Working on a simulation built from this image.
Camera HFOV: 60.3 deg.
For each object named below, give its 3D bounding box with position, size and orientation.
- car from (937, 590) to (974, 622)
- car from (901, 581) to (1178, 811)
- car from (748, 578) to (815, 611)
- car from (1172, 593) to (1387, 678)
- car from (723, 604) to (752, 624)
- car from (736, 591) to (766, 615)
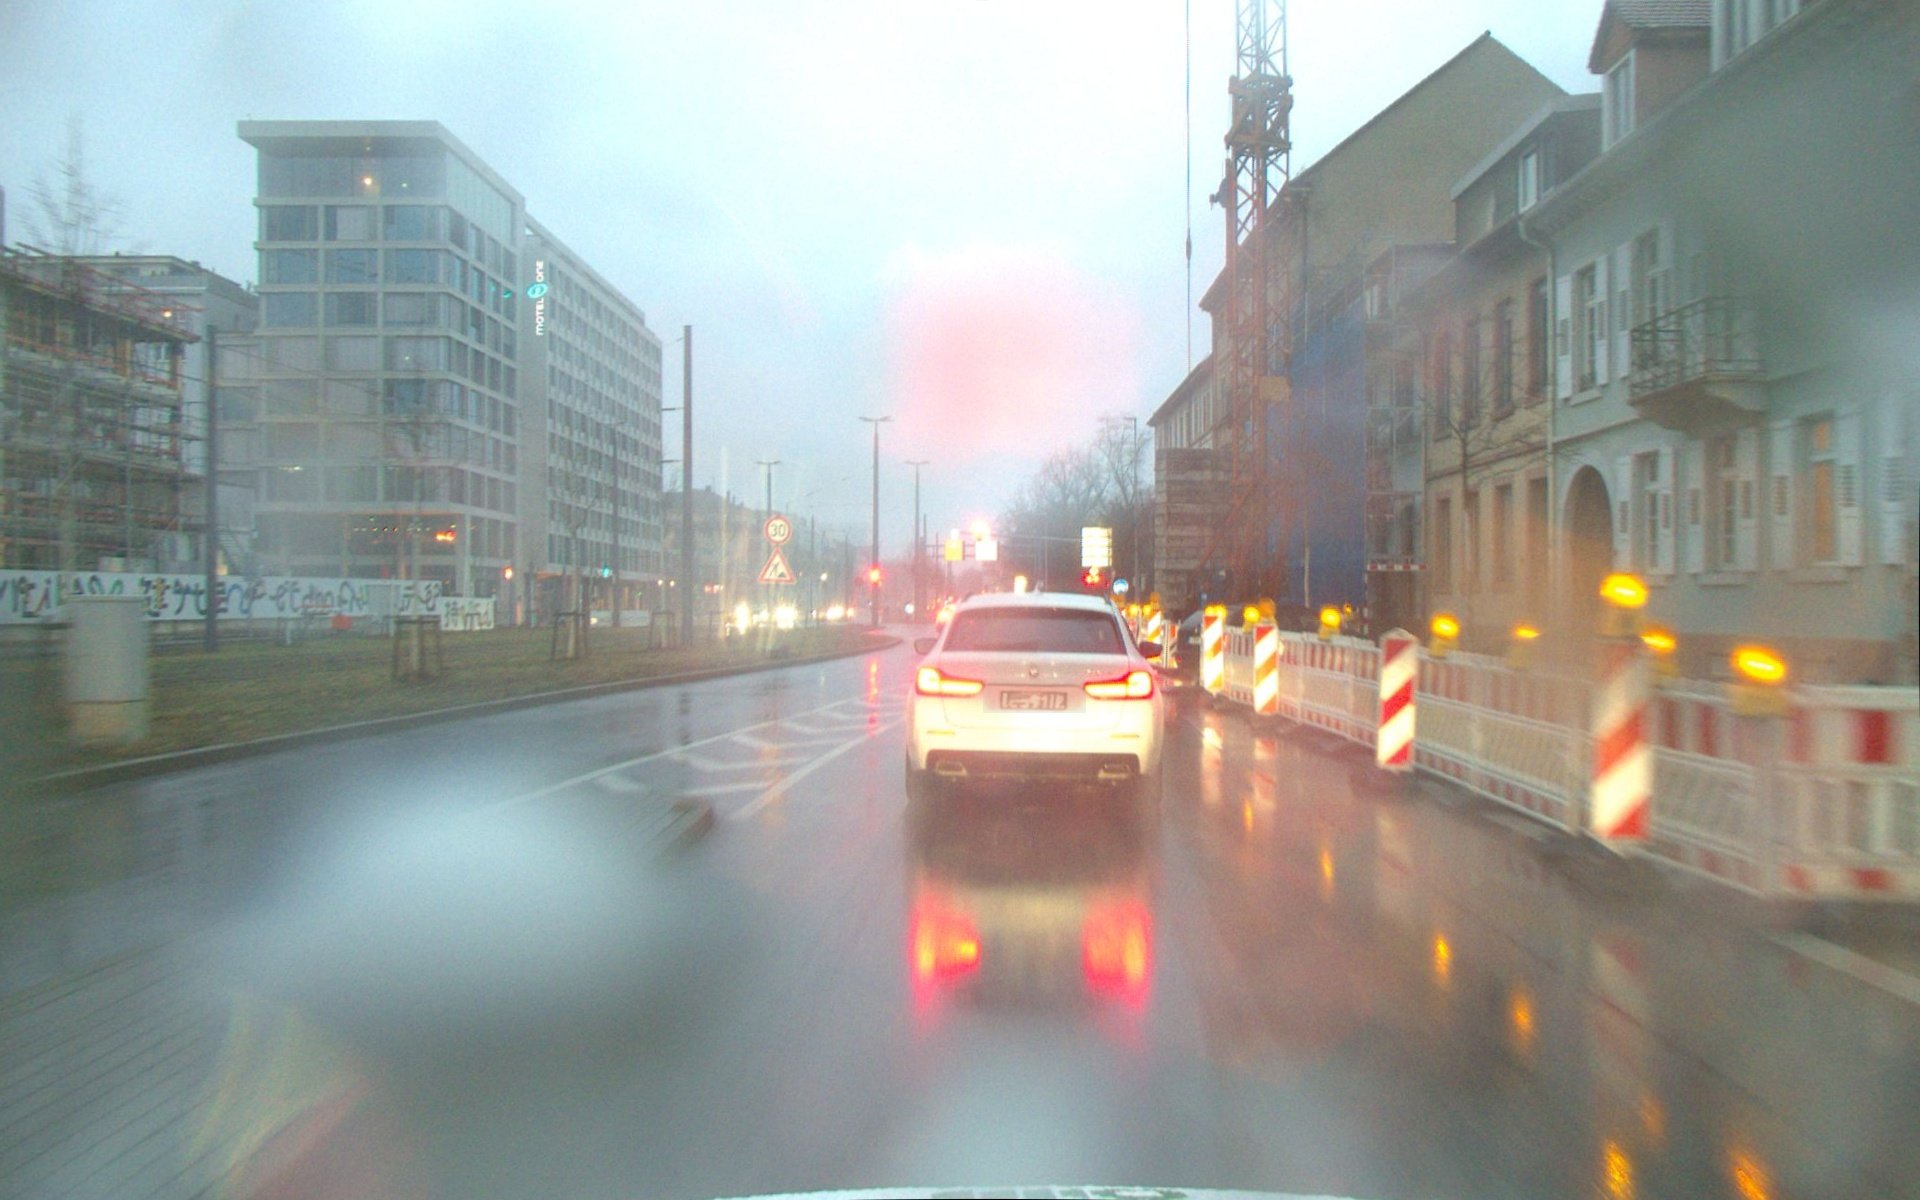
[{"bbox_3d":[-0.226,0.309,88.027,1.862,1.670,4.000,1,0,1],"label":"car"},{"bbox_3d":[0.536,0.628,13.426,1.814,1.491,4.946,1,0,0],"label":"car"},{"bbox_3d":[-11.379,-0.326,105.146,3.925,2.009,1.990,1,0,-18],"label":"car"},{"bbox_3d":[6.285,0.667,32.425,4.048,1.544,1.884,1,0,-36],"label":"car"},{"bbox_3d":[-17.837,1.143,132.807,1.703,1.518,3.544,1,0,2],"label":"car"},{"bbox_3d":[-18.041,0.260,142.947,1.952,2.049,4.538,0,0,1],"label":"car"}]
